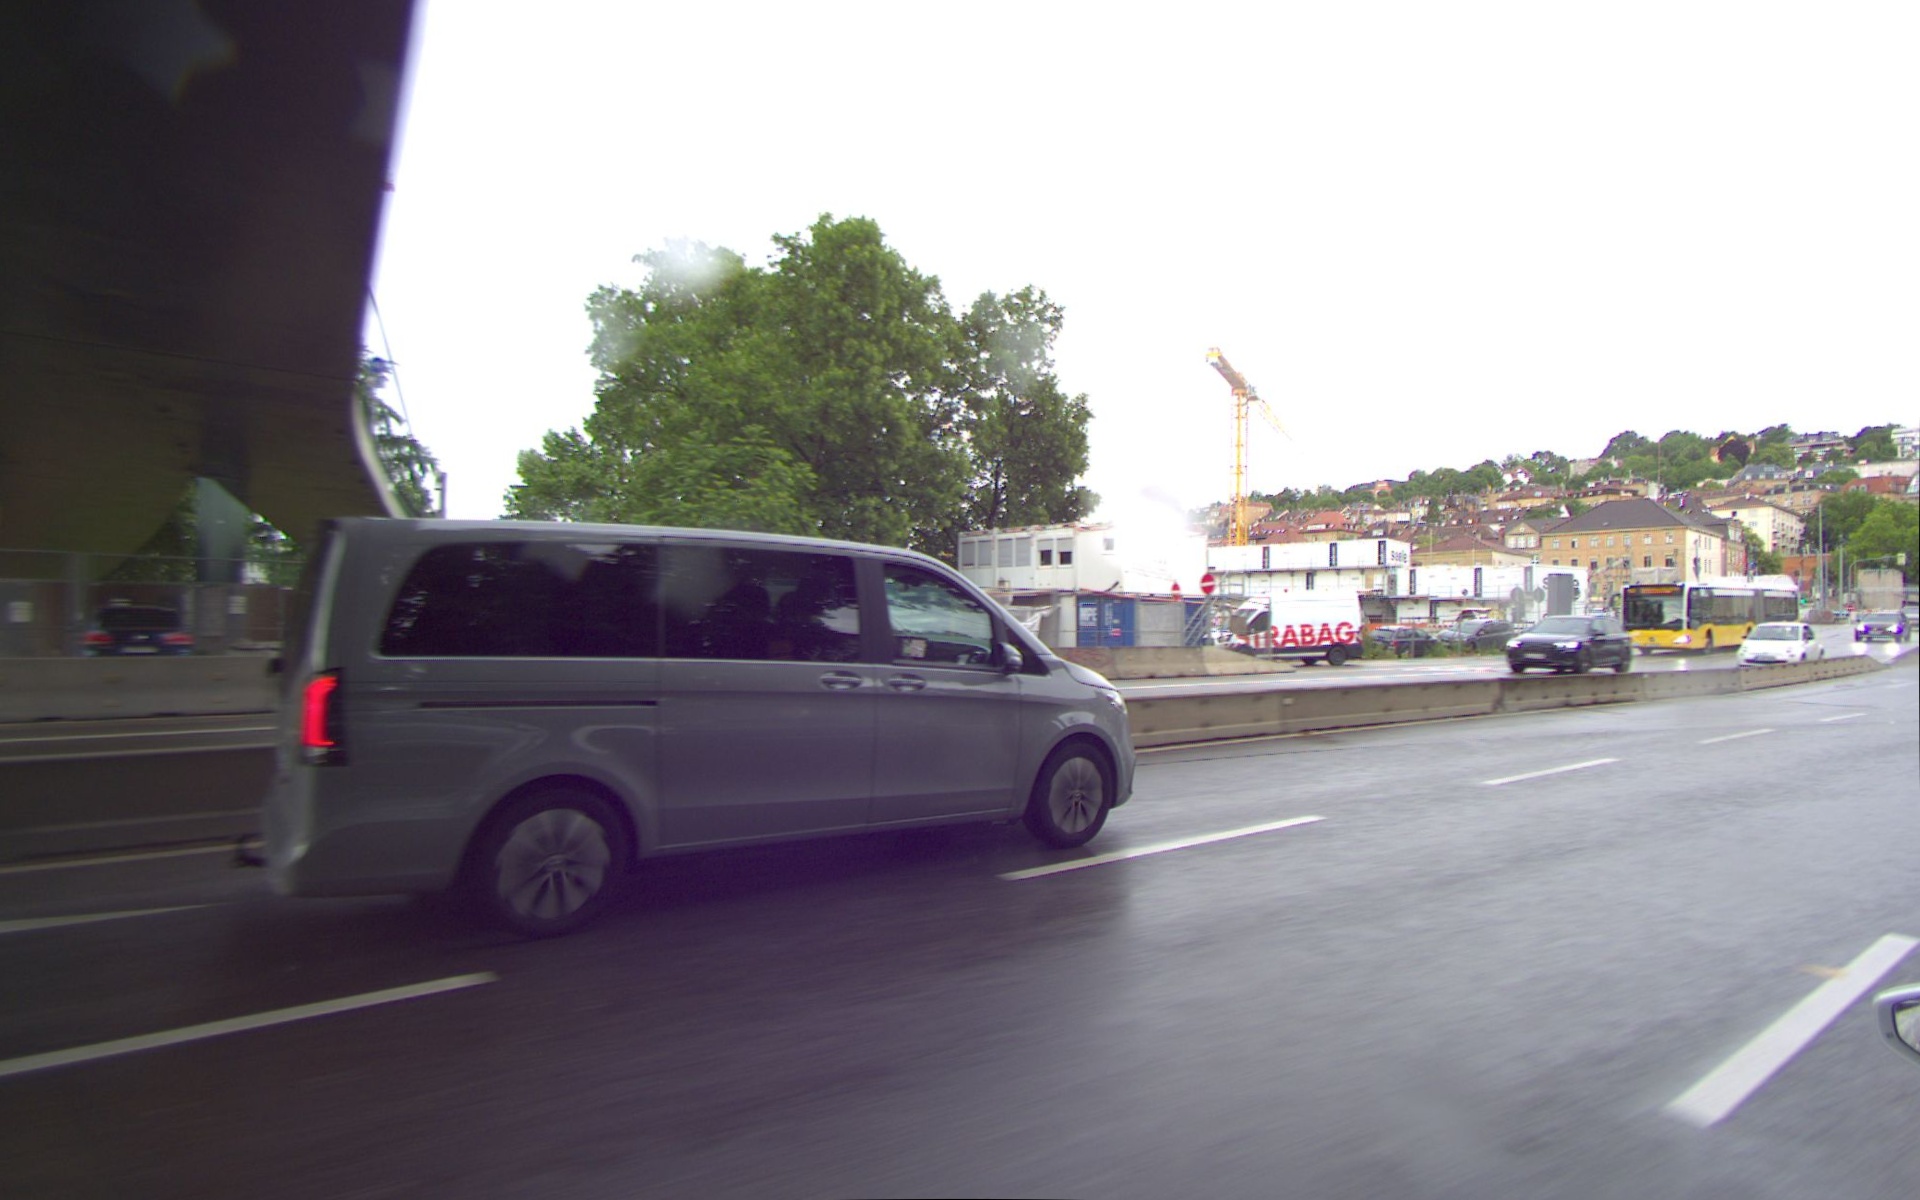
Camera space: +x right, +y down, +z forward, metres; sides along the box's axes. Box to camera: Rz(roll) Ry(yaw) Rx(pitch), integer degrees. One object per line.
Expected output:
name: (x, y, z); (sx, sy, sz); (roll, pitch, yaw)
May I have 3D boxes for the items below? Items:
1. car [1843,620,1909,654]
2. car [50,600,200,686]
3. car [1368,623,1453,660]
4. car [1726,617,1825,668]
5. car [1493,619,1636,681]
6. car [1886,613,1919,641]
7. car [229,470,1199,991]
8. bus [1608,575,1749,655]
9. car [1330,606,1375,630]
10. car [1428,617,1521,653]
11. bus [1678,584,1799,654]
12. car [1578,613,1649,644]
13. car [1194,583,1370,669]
car: (50.021, 2.043, 54.820); (4.894, 1.683, 2.022); (3, -4, -40)
car: (-17.934, 0.903, 21.504); (4.376, 1.648, 1.948); (-2, -3, 44)
car: (20.621, 1.866, 45.953); (4.134, 1.586, 1.750); (0, -1, -36)
car: (26.104, 1.381, 32.120); (3.419, 1.509, 1.697); (3, -3, -37)
car: (17.715, 1.417, 29.350); (4.810, 1.652, 2.066); (1, -2, -39)
car: (65.569, 1.910, 69.124); (5.255, 1.778, 1.977); (3, -4, -40)
car: (-1.079, 0.548, 6.043); (5.309, 1.881, 1.979); (2, -1, -38)
bus: (31.682, 0.766, 44.143); (8.731, 3.226, 2.784); (2, -3, -39)
car: (34.976, 1.586, 89.436); (1.972, 2.040, 5.282); (-1, -1, 43)
car: (24.862, 1.723, 48.522); (4.626, 1.586, 1.754); (3, -3, -29)
bus: (38.646, 1.026, 49.733); (9.071, 3.193, 2.682); (2, -2, -39)
car: (36.317, 1.555, 55.784); (3.959, 1.643, 1.981); (0, -1, -35)
car: (11.729, 0.988, 36.686); (5.945, 2.912, 1.996); (2, -3, -11)
